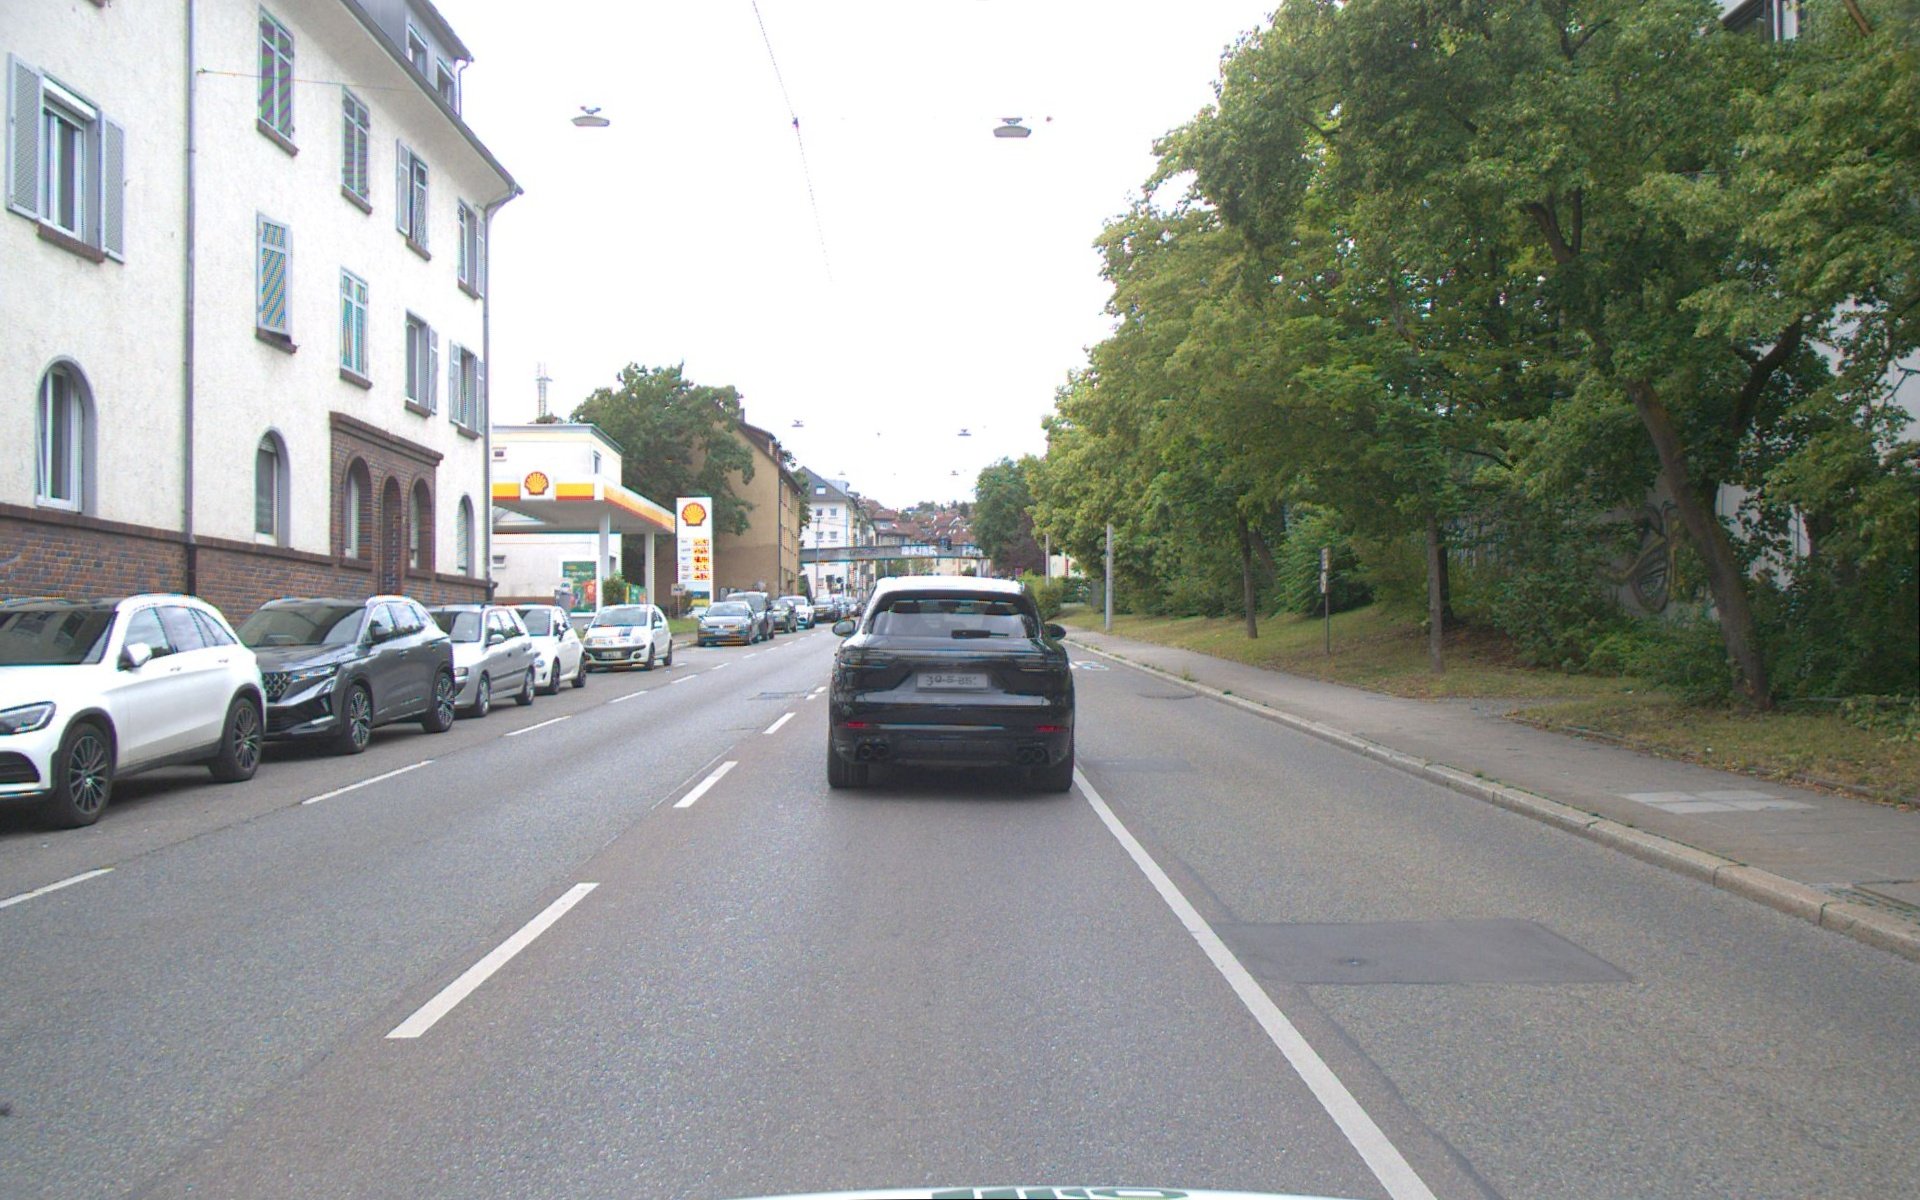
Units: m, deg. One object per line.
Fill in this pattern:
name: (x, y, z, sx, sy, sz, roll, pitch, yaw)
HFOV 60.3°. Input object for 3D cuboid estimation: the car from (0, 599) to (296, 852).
car: (-7.104, 0.845, 13.212, 1.808, 1.649, 4.642, -1, 0, -2)

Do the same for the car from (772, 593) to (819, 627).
car: (-8.183, 0.484, 82.555, 1.876, 1.605, 4.699, -1, 0, 0)

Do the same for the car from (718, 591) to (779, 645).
car: (-7.870, 0.651, 61.899, 1.814, 1.867, 4.699, -2, 0, -3)

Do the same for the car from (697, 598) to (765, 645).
car: (-7.716, 0.684, 56.086, 1.754, 1.475, 4.217, -2, 0, -1)

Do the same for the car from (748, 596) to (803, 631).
car: (-8.141, 0.583, 73.226, 1.760, 1.456, 4.744, -2, 0, 1)

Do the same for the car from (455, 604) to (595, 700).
car: (-7.486, 0.851, 28.770, 1.516, 1.501, 3.603, -1, 0, -1)

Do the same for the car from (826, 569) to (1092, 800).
car: (-0.027, 0.598, 14.143, 1.953, 1.691, 4.000, 0, 1, -1)

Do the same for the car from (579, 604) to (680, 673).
car: (-7.550, 0.851, 38.076, 1.586, 1.450, 3.664, -1, 0, -1)

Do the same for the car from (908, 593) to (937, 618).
car: (-2.230, 0.331, 99.747, 1.706, 1.424, 4.000, 0, 1, -1)

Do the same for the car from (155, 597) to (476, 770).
car: (-6.940, 0.805, 18.363, 1.691, 1.627, 4.502, -1, 0, 1)

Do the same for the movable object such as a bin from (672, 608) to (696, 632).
movable object such as a bin: (-16.970, 1.211, 101.734, 1.365, 1.453, 0.912, 0, 0, -3)

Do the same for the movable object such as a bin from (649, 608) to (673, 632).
movable object such as a bin: (-18.370, 1.227, 101.645, 1.365, 1.453, 0.912, 0, 0, -3)

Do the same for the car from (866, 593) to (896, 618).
car: (-5.122, 0.353, 107.117, 1.761, 1.551, 3.999, -2, 0, -1)

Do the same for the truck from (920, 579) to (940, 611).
truck: (-3.457, -0.539, 189.144, 2.221, 3.484, 9.875, -1, 0, -1)

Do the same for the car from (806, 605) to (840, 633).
car: (-8.600, 1.182, 104.096, 1.746, 1.637, 4.264, -3, 0, 0)

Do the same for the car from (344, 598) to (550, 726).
car: (-7.217, 0.813, 23.678, 1.692, 1.585, 4.080, -3, 0, -2)
